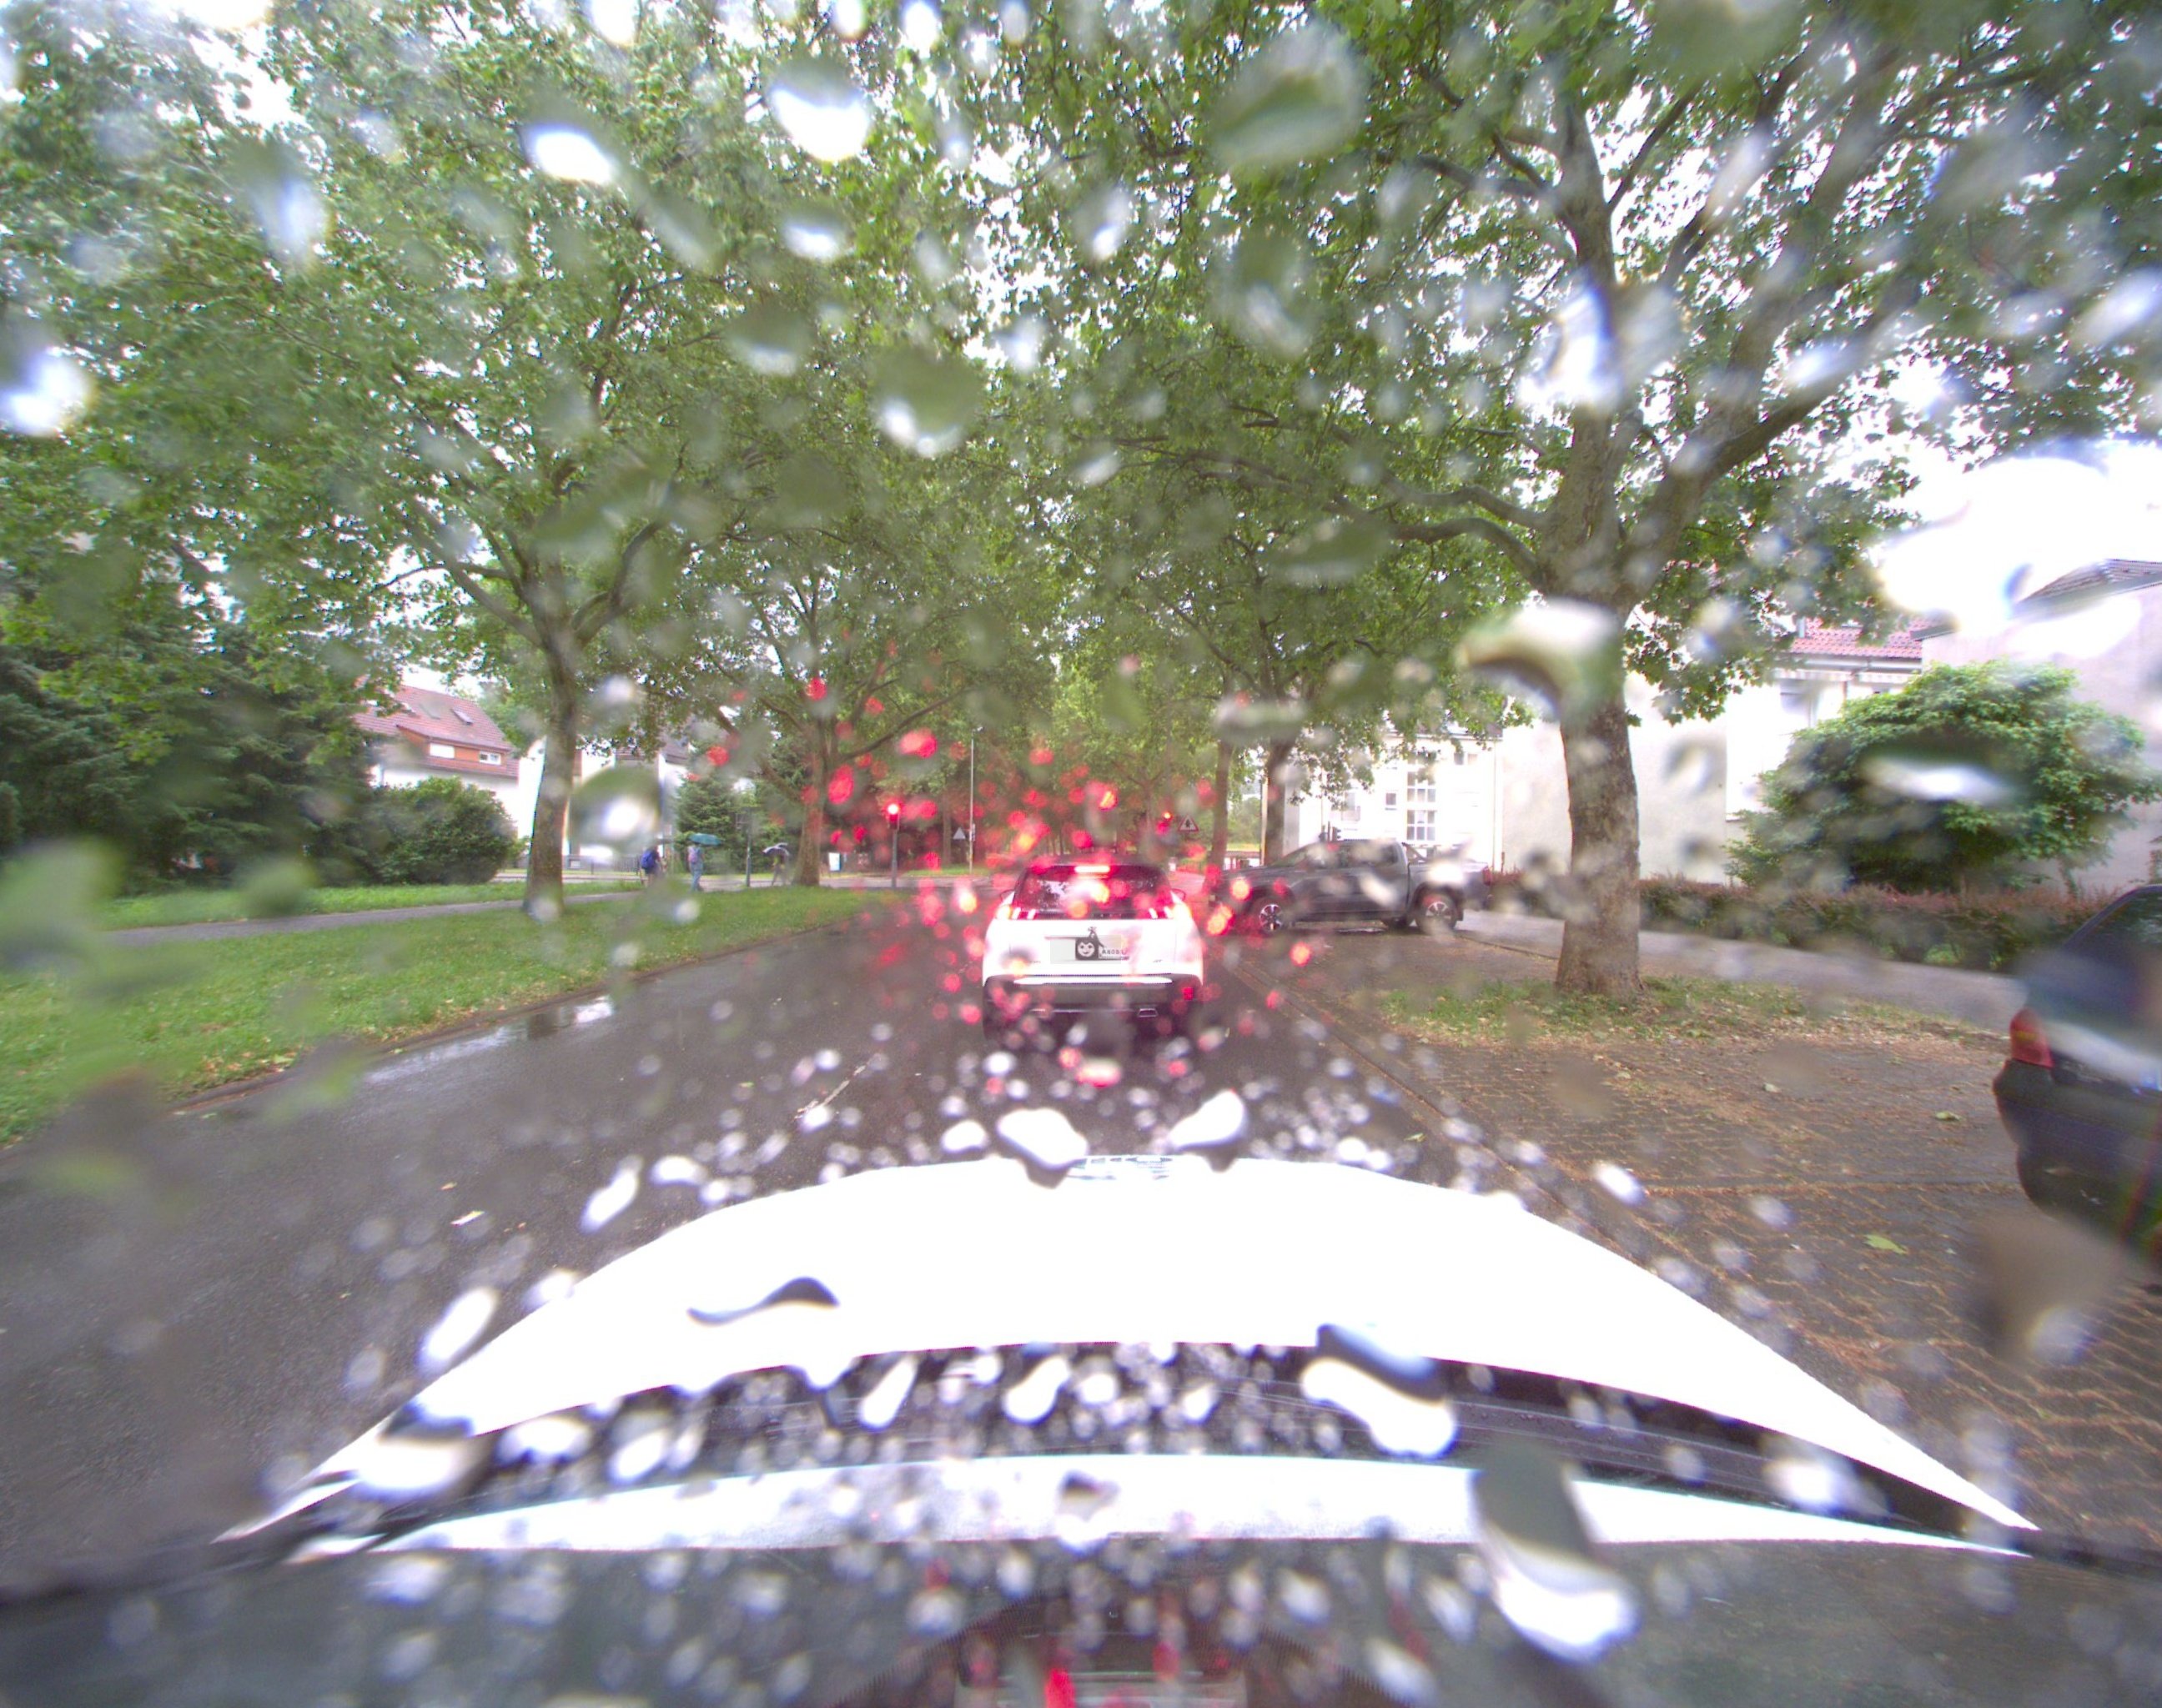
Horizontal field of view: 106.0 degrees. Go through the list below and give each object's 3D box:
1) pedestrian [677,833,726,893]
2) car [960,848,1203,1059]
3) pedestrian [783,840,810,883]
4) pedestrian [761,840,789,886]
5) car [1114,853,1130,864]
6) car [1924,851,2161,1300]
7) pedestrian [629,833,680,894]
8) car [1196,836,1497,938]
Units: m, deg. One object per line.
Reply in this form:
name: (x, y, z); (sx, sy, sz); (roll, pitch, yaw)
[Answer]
pedestrian: (-11.241, 0.259, 24.131); (1.029, 1.765, 0.838); (0, 0, 1)
car: (0.058, 0.718, 7.978); (1.774, 1.536, 4.059); (0, 0, 1)
pedestrian: (-11.534, 0.295, 33.035); (0.856, 1.744, 0.639); (1, 0, -2)
pedestrian: (-11.891, 0.345, 31.668); (0.818, 1.744, 0.639); (1, 0, -2)
car: (5.642, 0.585, 111.894); (1.901, 1.510, 3.928); (1, 0, -2)
car: (5.208, 0.731, 2.627); (3.344, 1.464, 1.618); (0, 0, 0)
pedestrian: (-12.602, 0.275, 24.073); (1.029, 1.765, 0.879); (0, 0, 1)
car: (5.093, 0.586, 15.985); (5.330, 1.807, 1.842); (-1, 0, -6)
